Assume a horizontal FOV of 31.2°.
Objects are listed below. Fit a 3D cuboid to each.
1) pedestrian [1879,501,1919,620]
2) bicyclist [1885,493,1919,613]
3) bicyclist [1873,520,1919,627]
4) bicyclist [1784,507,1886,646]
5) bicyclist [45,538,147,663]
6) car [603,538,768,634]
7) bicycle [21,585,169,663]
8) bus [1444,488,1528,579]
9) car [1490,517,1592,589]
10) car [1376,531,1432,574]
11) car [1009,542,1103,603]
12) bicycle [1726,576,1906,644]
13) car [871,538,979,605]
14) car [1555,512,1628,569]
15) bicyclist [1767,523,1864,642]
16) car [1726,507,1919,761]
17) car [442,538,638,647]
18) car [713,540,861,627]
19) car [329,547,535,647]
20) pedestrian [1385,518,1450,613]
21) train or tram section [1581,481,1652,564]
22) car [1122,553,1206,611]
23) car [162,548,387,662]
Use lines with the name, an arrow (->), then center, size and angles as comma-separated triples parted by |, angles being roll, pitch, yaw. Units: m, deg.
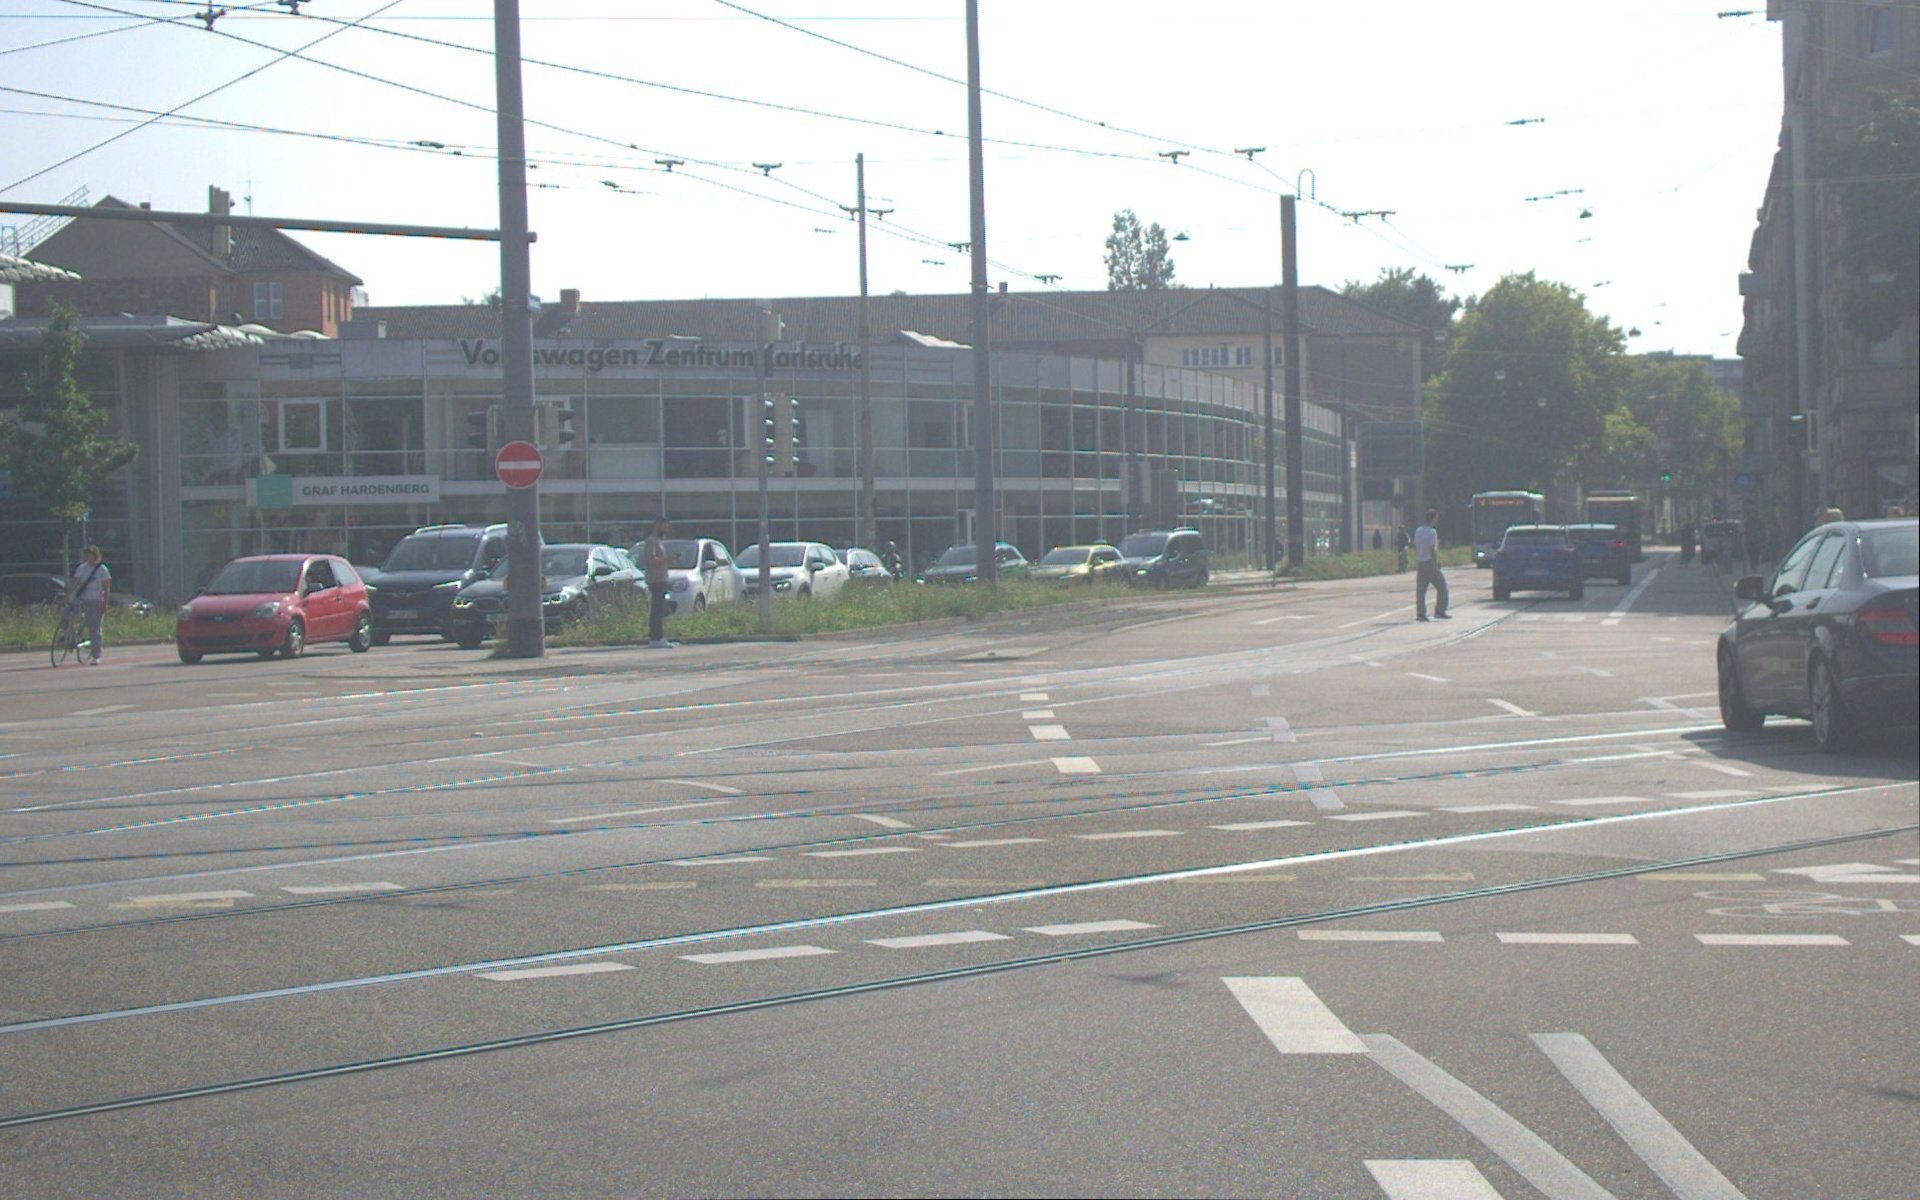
pedestrian -> 14.534, -0.604, 52.008 | 0.925, 1.791, 0.859 | -2, 1, -44
bicyclist -> 13.937, -0.679, 49.023 | 0.934, 1.702, 1.092 | -2, 1, -40
bicyclist -> 15.241, -0.429, 54.586 | 0.934, 1.674, 1.093 | -1, 1, -27
bicyclist -> 12.896, -0.355, 50.680 | 0.934, 2.017, 1.092 | -2, 1, -40
bicyclist -> -12.255, 0.004, 48.812 | 0.958, 1.742, 1.166 | 0, 1, 13
car -> -4.540, -0.260, 57.352 | 1.615, 1.470, 3.998 | -3, 0, 12
bicycle -> -12.255, 0.327, 48.807 | 0.958, 1.053, 2.607 | 0, 1, 13
bus -> 22.461, -2.797, 146.146 | 2.922, 3.606, 16.739 | 0, 1, 11
car -> 12.121, -0.997, 71.552 | 1.826, 1.423, 4.410 | -1, 1, 13
car -> 16.386, -1.768, 126.749 | 1.615, 1.470, 3.998 | -3, 0, 13
car -> 2.497, -0.734, 88.872 | 1.615, 1.470, 3.998 | -3, 0, 13
bicycle -> 13.200, 0.145, 53.005 | 2.618, 0.961, 1.093 | -1, 1, -27
car -> -0.806, -0.697, 81.673 | 1.615, 1.470, 3.998 | -3, 0, 13
car -> 16.690, -1.591, 90.752 | 1.826, 1.423, 4.410 | -1, 1, 11
bicyclist -> 13.181, -0.275, 52.989 | 0.934, 1.793, 1.093 | -1, 1, -27
car -> 6.054, 0.141, 21.634 | 1.683, 1.437, 4.372 | -1, 1, 3
car -> -6.161, -0.138, 50.865 | 1.615, 1.470, 3.998 | -3, 0, 12
car -> -3.133, -0.326, 63.037 | 1.615, 1.470, 3.998 | -3, 0, 13
car -> -8.512, -0.082, 55.753 | 1.961, 1.470, 3.998 | -3, 0, 12
pedestrian -> 7.376, -0.558, 55.404 | 0.777, 1.498, 0.710 | -1, 1, -19
train or tram section -> 30.367, -3.596, 159.315 | 2.655, 3.686, 10.586 | -1, 1, 8
car -> 5.651, -0.518, 95.007 | 1.615, 1.470, 3.998 | -3, 0, 13
car -> -9.627, 0.038, 48.580 | 1.615, 1.470, 3.998 | -3, 0, 12
